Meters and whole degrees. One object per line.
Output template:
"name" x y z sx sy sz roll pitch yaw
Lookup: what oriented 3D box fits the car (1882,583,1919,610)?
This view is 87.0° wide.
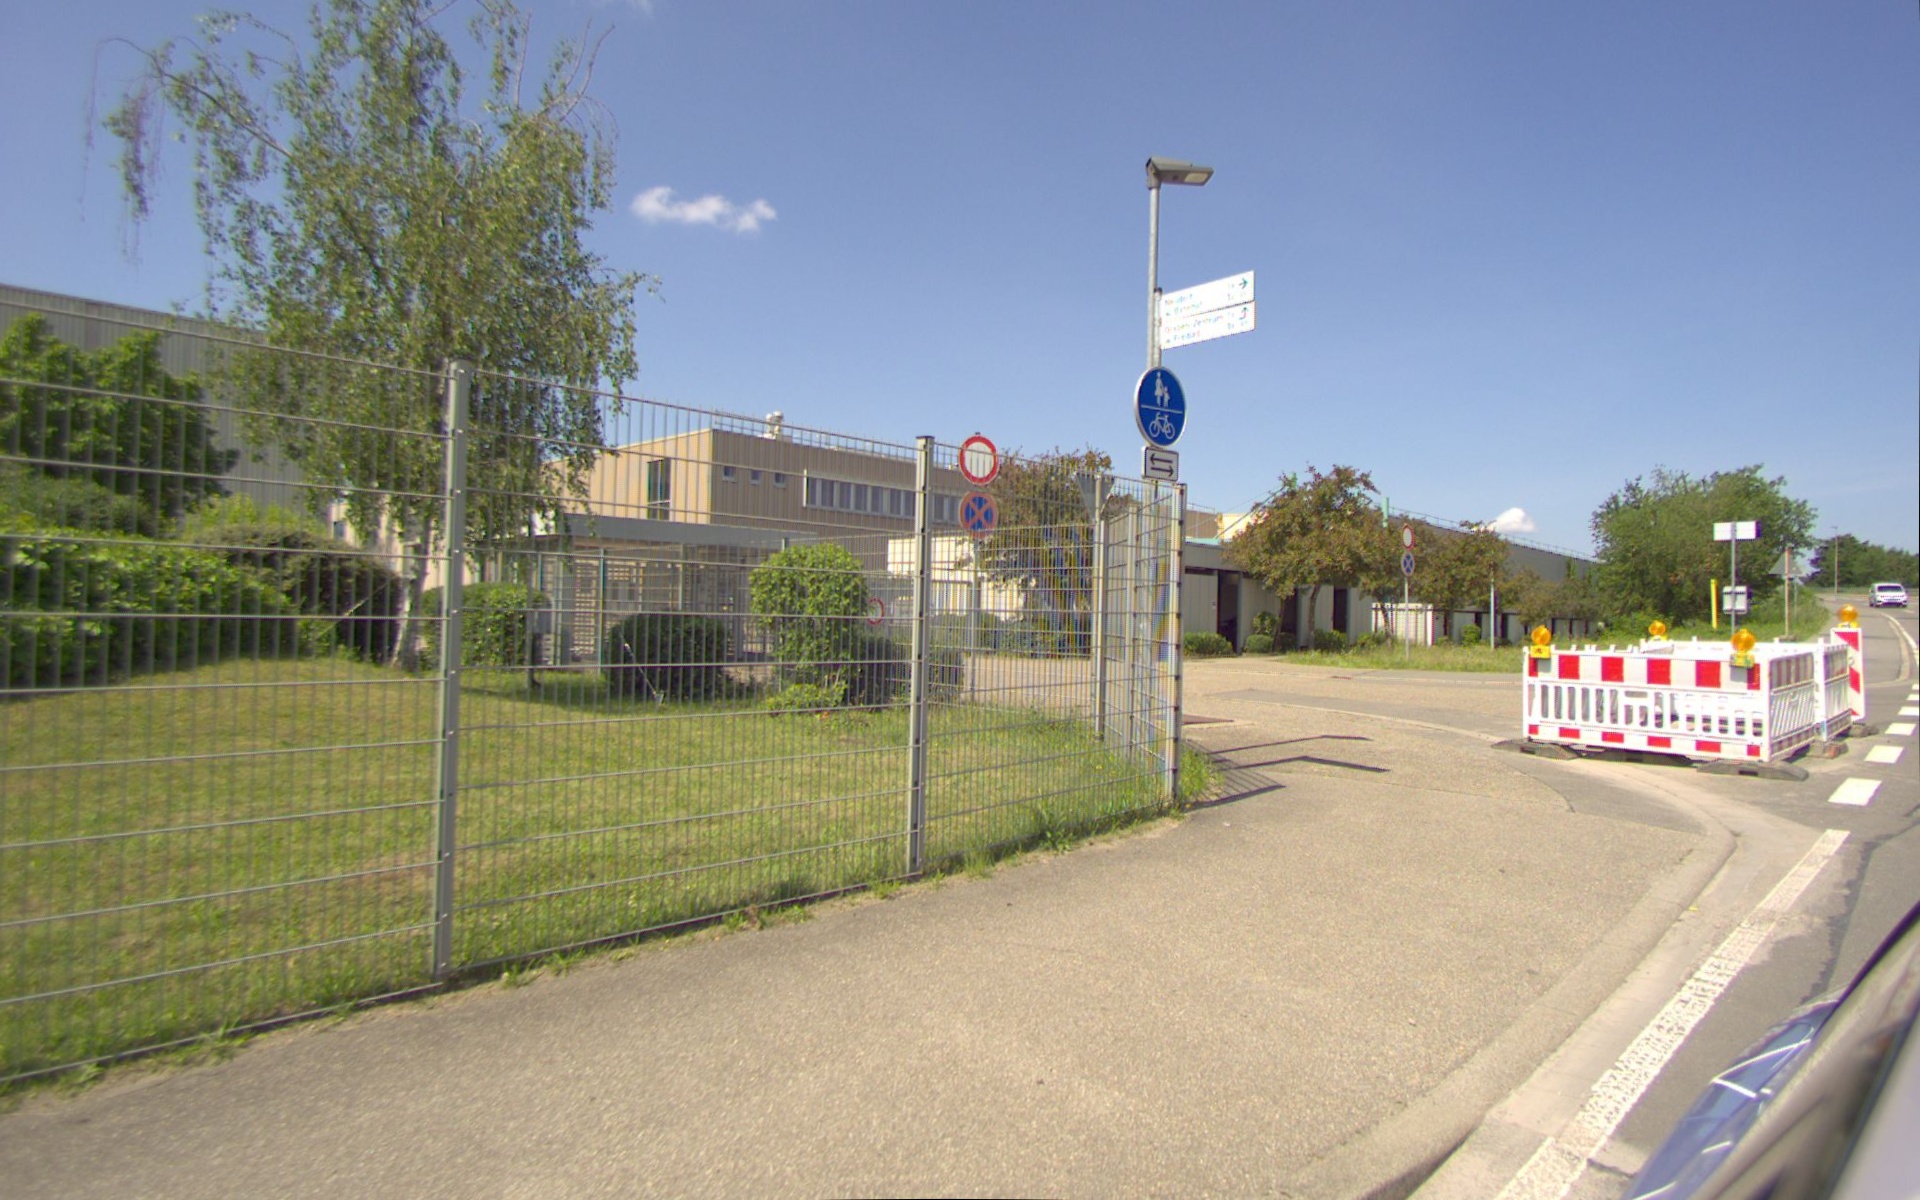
"car" 70.825 -0.261 76.032 1.990 1.939 3.944 1 0 38
